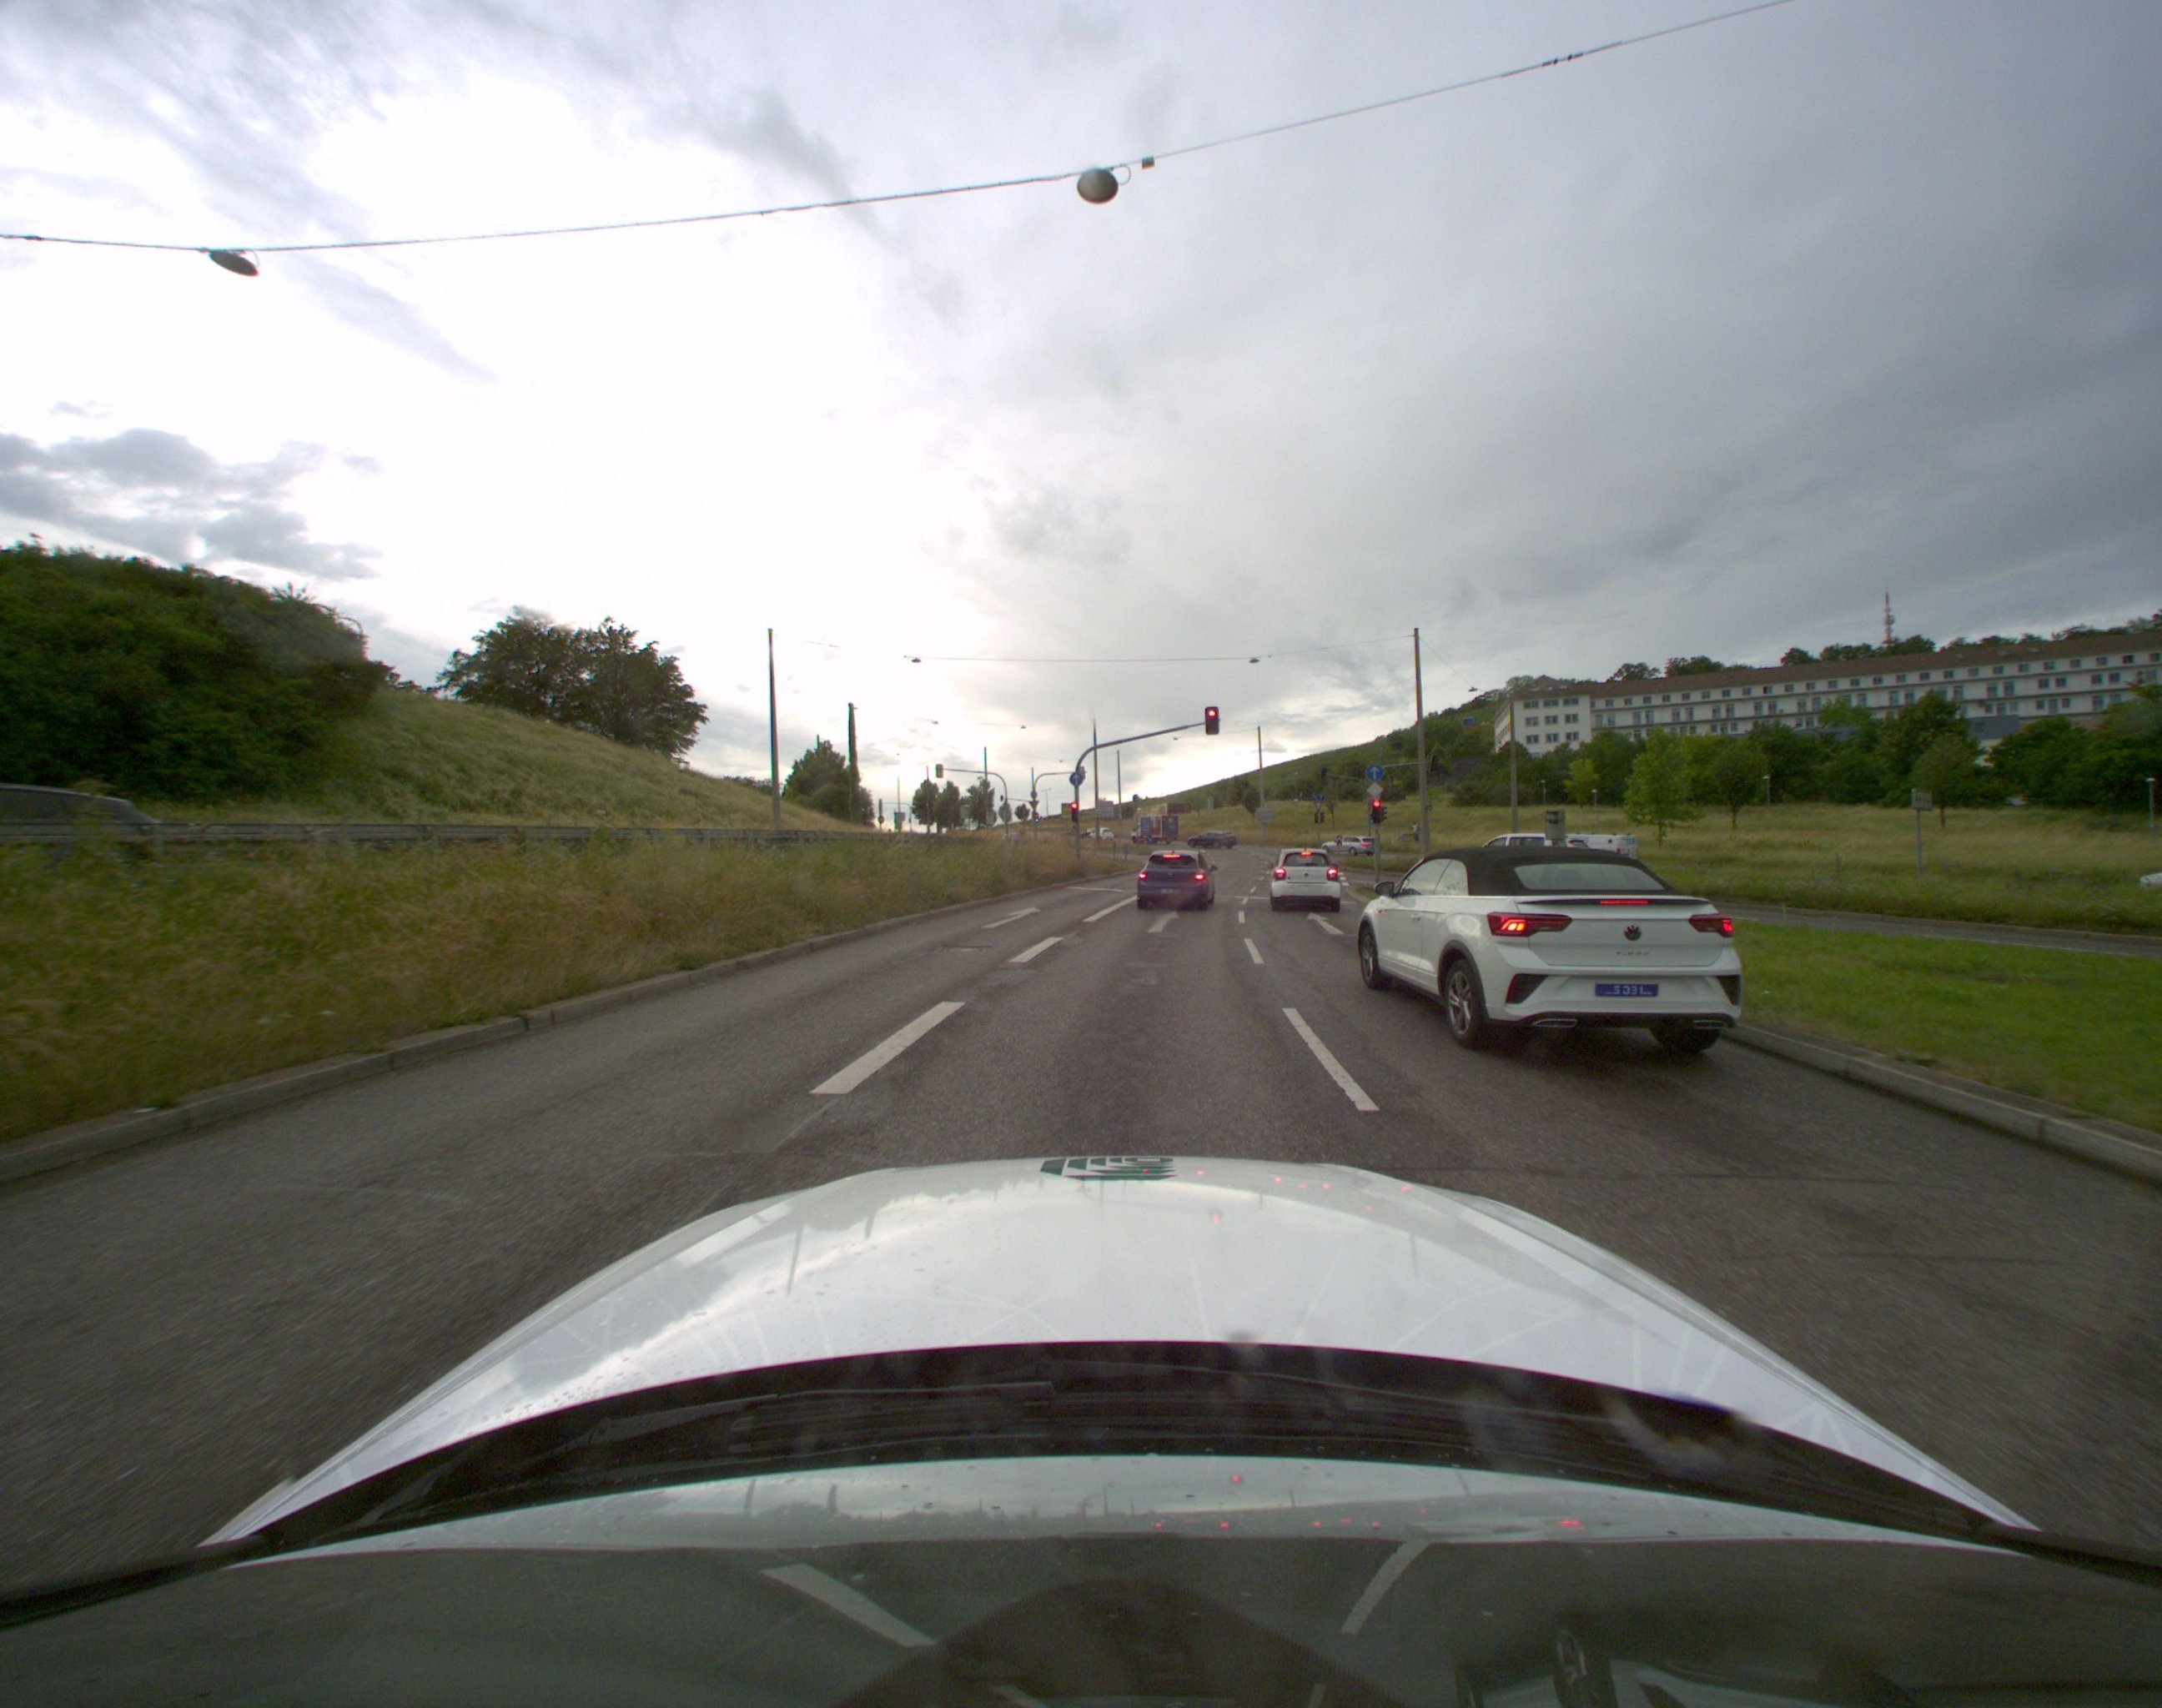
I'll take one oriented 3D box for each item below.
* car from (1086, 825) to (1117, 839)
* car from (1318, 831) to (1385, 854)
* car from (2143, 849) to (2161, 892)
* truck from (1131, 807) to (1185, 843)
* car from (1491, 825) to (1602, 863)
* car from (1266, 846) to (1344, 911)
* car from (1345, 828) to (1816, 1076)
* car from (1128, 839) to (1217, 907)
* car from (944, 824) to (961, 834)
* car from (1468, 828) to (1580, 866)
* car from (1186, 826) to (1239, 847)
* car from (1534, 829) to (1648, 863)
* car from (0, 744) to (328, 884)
[{"bbox_3d":[2.406,-2.630,96.217,2.002,1.500,4.529,-3,4,-23],"label":"car"},{"bbox_3d":[19.628,-0.882,59.245,2.005,1.605,4.522,-1,2,-28],"label":"car"},{"bbox_3d":[36.825,0.617,25.349,1.880,1.289,4.324,-3,4,-28],"label":"car"},{"bbox_3d":[7.869,-3.019,84.146,2.862,3.526,6.185,-3,4,-25],"label":"truck"},{"bbox_3d":[24.069,-0.575,42.263,2.007,1.711,4.620,-4,4,-31],"label":"car"},{"bbox_3d":[5.715,0.555,21.060,1.762,1.519,3.738,1,1,13],"label":"car"},{"bbox_3d":[3.914,0.615,7.383,1.986,1.578,4.131,1,0,5],"label":"car"},{"bbox_3d":[2.515,0.475,21.512,1.913,1.599,4.074,-1,-1,12],"label":"car"},{"bbox_3d":[-25.435,-4.886,161.159,2.004,1.711,4.524,-3,2,-26],"label":"car"},{"bbox_3d":[21.949,-0.408,40.561,2.007,1.711,4.519,-4,4,-31],"label":"car"},{"bbox_3d":[11.703,-1.550,72.535,2.009,1.711,4.513,-4,4,-37],"label":"car"},{"bbox_3d":[27.259,-0.503,43.745,2.004,1.693,4.854,-1,2,-27],"label":"car"},{"bbox_3d":[-13.383,-0.533,11.359,1.702,1.656,4.009,3,1,8],"label":"car"}]
